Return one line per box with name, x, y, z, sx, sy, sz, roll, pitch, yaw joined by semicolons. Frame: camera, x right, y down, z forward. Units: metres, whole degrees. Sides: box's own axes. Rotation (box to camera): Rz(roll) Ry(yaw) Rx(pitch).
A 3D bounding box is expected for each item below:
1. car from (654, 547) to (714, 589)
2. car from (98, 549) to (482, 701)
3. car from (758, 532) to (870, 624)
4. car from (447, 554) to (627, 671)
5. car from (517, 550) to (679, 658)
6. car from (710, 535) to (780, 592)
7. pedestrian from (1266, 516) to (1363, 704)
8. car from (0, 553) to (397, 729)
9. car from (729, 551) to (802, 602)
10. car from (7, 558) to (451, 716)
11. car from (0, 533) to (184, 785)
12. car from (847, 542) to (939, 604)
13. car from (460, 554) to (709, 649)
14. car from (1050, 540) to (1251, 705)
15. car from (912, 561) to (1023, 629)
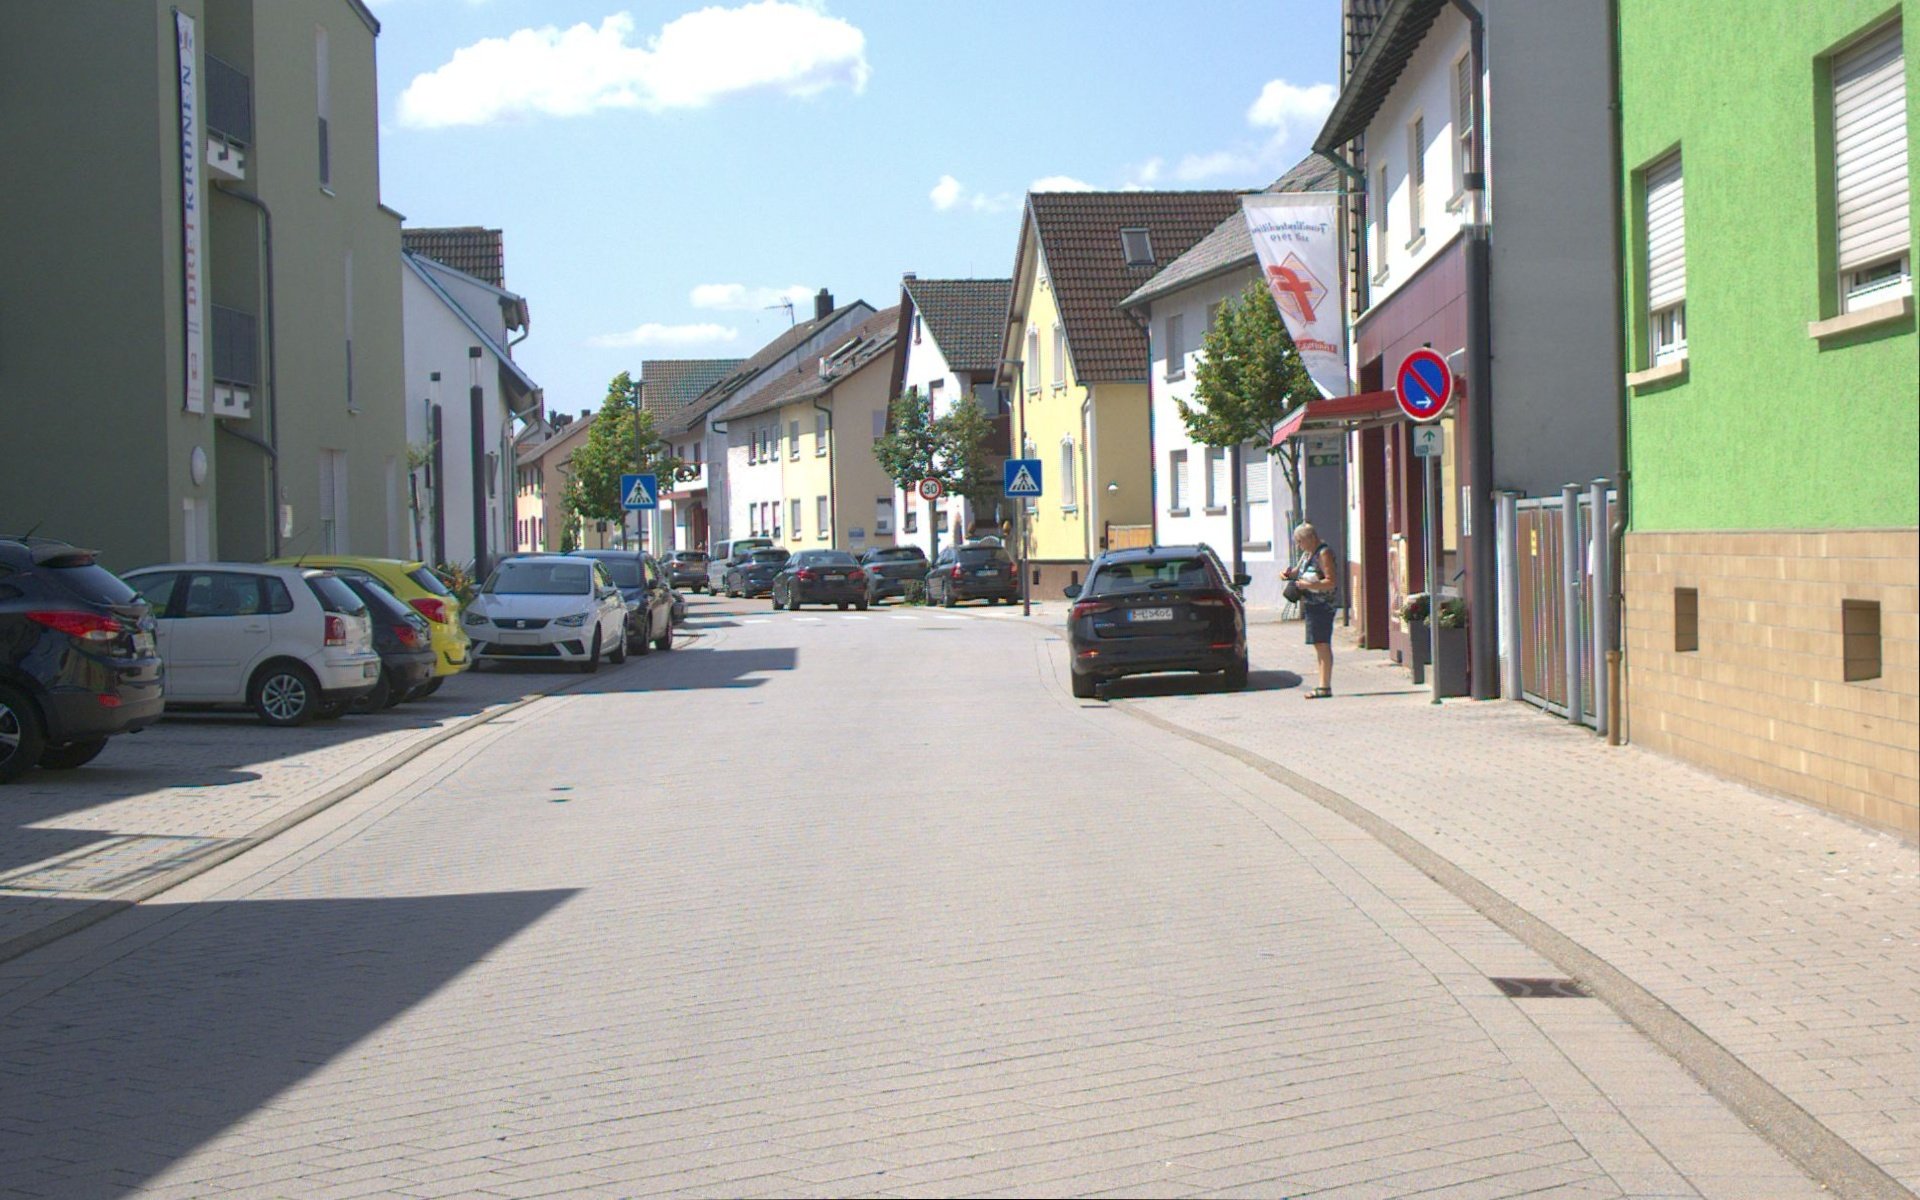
car;-10.255;-1.200;127.492;1.754;1.487;4.001;-2;1;-10
car;-7.046;0.240;36.371;3.692;1.520;1.672;1;1;3
car;-3.513;-0.549;82.066;1.993;2.050;4.375;-2;1;-11
car;-5.468;0.131;44.809;1.758;1.406;3.878;0;1;2
car;-5.271;0.025;50.551;1.813;1.485;4.277;0;1;2
car;-7.434;-1.288;118.726;1.906;1.865;4.001;-2;1;-10
pedestrian;3.229;0.085;31.340;0.730;1.634;0.749;-5;0;4
car;-7.296;0.350;31.562;3.901;1.497;1.751;1;1;3
car;-6.427;-0.786;113.131;1.877;1.585;4.001;-2;1;-10
car;-7.174;0.344;33.980;3.987;1.436;1.691;1;1;2
car;-7.658;0.363;23.662;4.219;1.652;1.784;0;1;1
car;-1.828;-0.738;92.087;1.846;1.557;3.694;-2;1;-10
car;-6.604;0.018;60.770;4.106;1.433;1.765;-3;1;2
car;2.014;0.184;35.554;1.858;1.454;4.585;-4;1;4
car;0.153;-0.134;82.545;1.828;1.466;4.277;-4;1;-10
